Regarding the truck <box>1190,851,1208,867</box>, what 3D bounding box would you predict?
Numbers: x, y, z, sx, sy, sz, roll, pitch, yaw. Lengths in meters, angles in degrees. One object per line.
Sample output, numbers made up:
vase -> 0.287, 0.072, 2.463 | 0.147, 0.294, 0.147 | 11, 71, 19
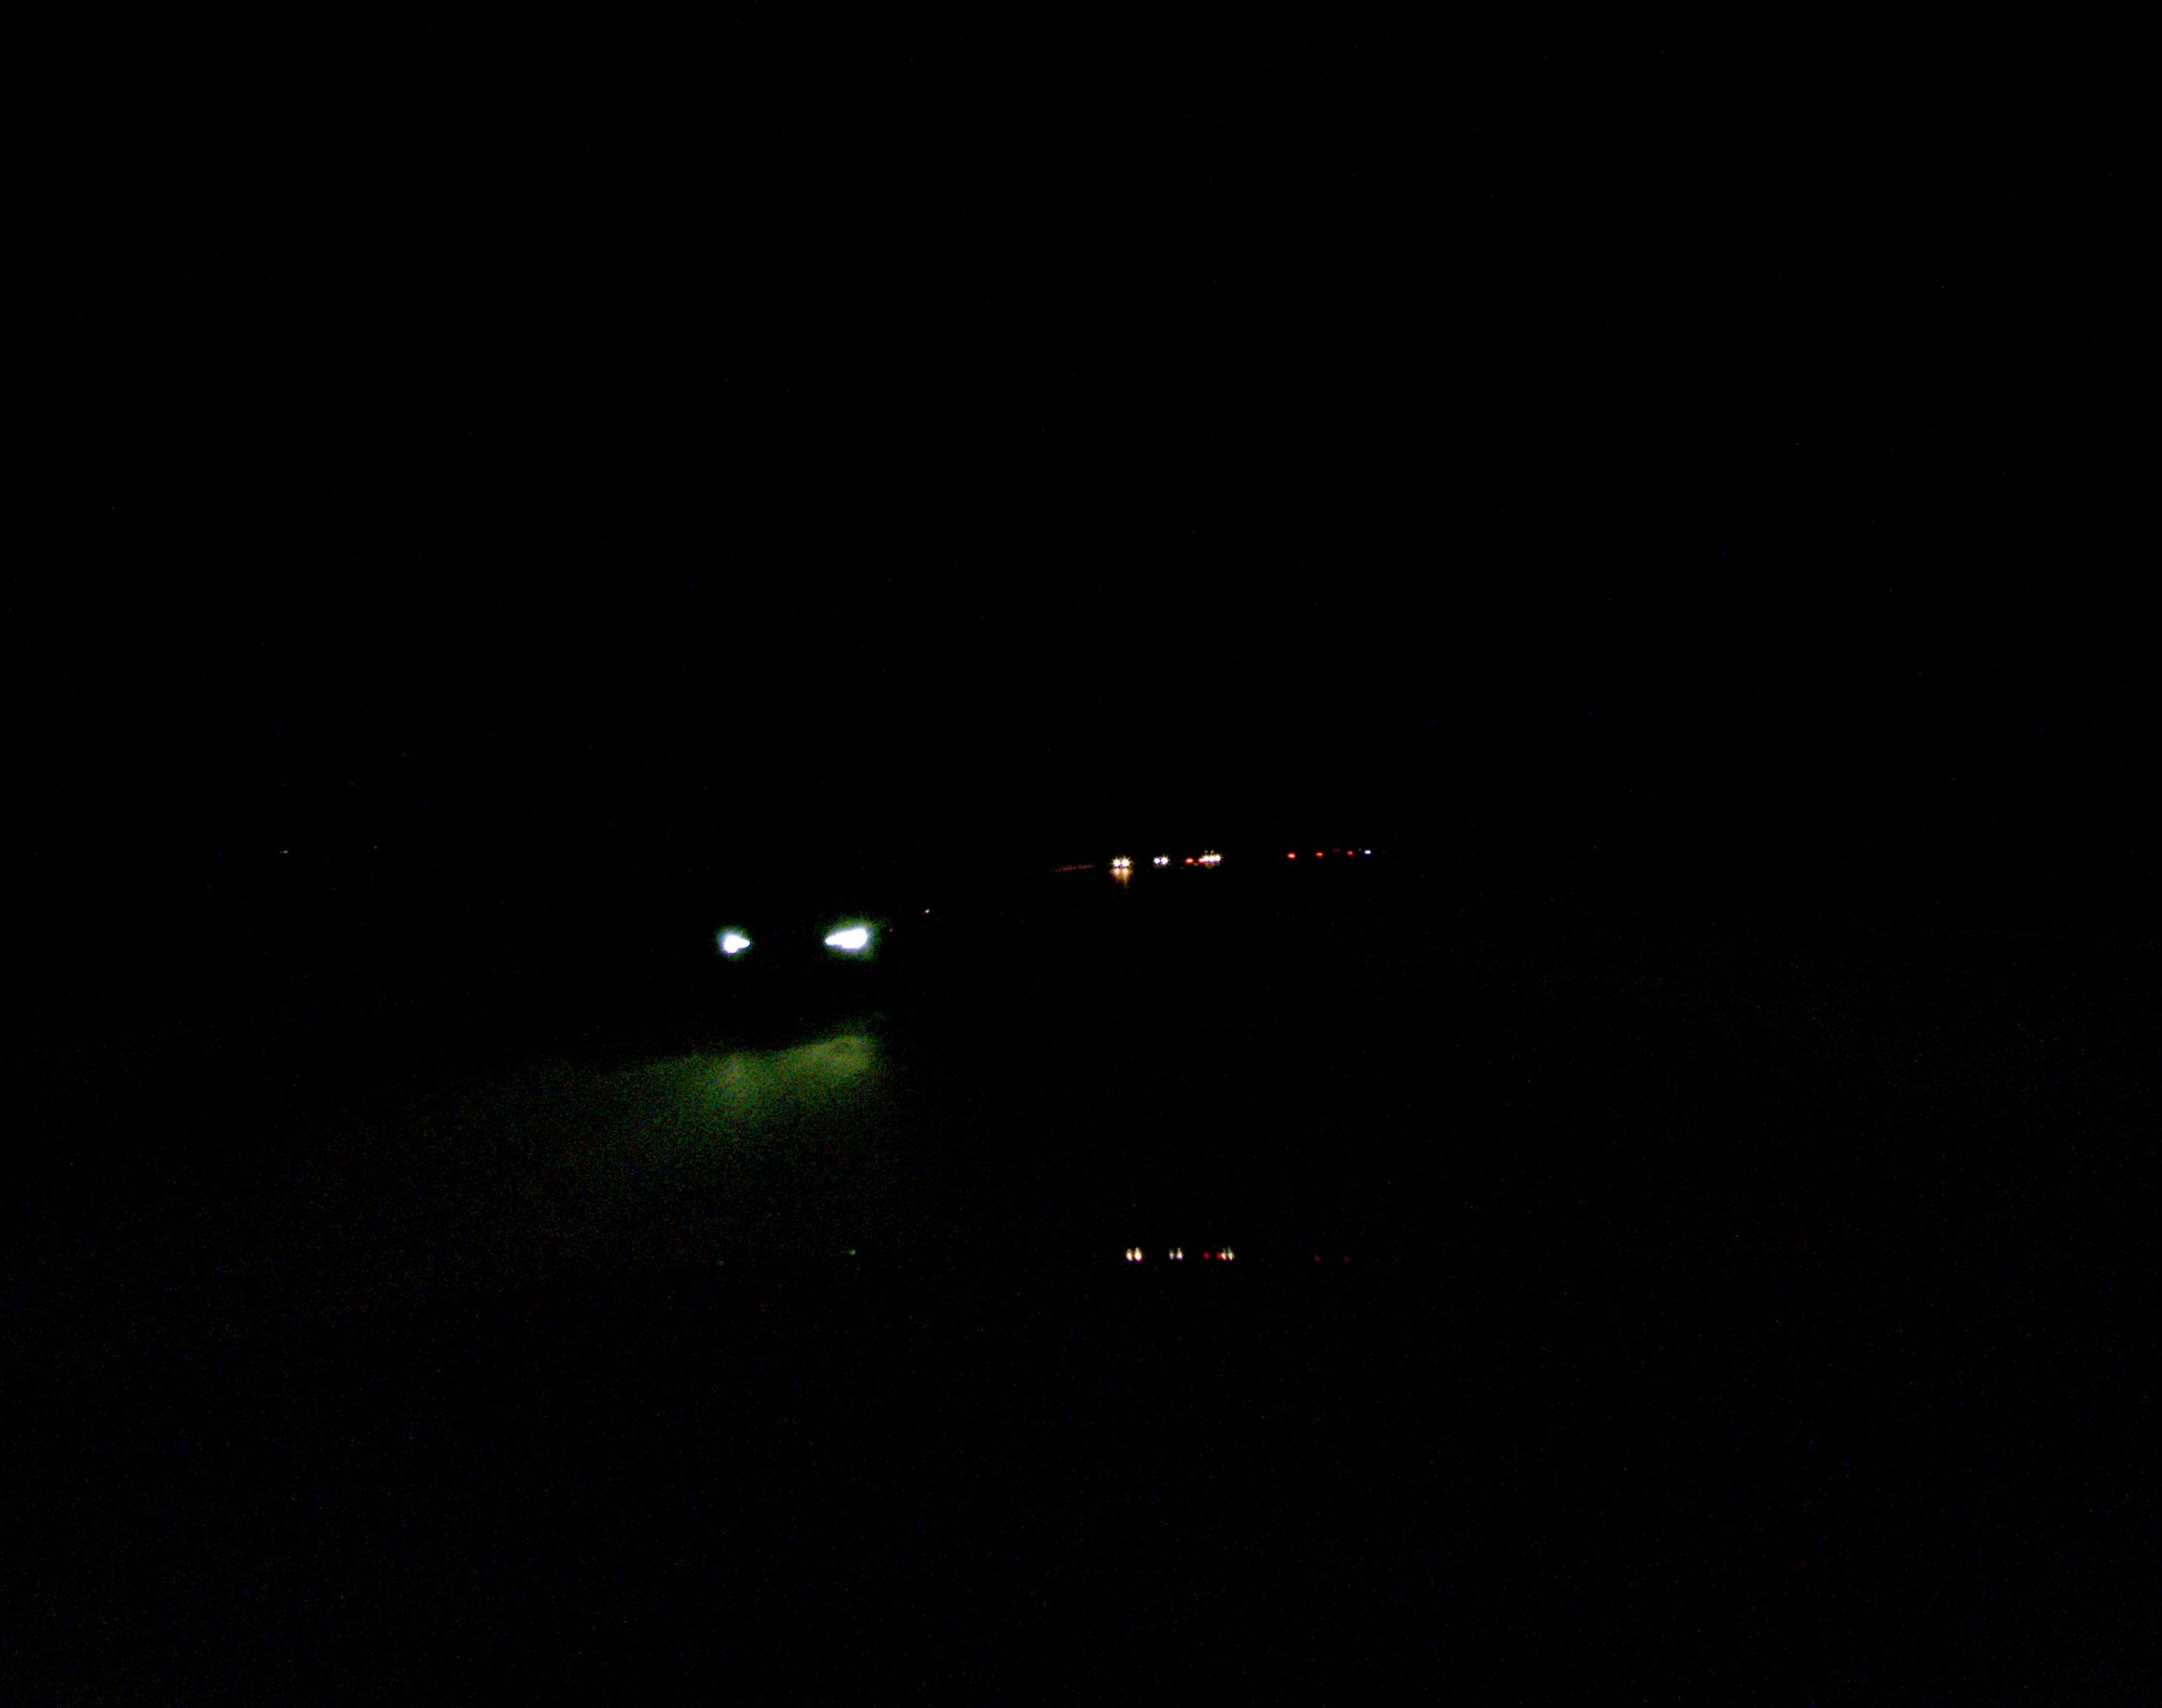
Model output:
truck -> 11.989, 0.507, 77.497 | 1.686, 1.461, 4.155 | -3, 1, 8

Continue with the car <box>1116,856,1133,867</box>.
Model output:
car -> 5.878, 1.036, 101.967 | 1.811, 1.508, 3.939 | 0, -1, 9

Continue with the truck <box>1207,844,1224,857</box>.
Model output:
truck -> 44.470, -1.237, 250.852 | 2.967, 4.250, 17.166 | 0, 1, 19

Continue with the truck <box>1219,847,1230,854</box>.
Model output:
truck -> 46.402, -1.116, 245.802 | 2.423, 2.410, 7.102 | 0, 0, 20

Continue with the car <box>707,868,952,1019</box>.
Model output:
car -> -3.147, 1.020, 10.706 | 1.813, 1.418, 4.873 | -2, 1, 0

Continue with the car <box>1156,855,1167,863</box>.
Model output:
car -> 16.471, 1.028, 154.856 | 1.811, 1.508, 3.939 | 0, -1, 12
